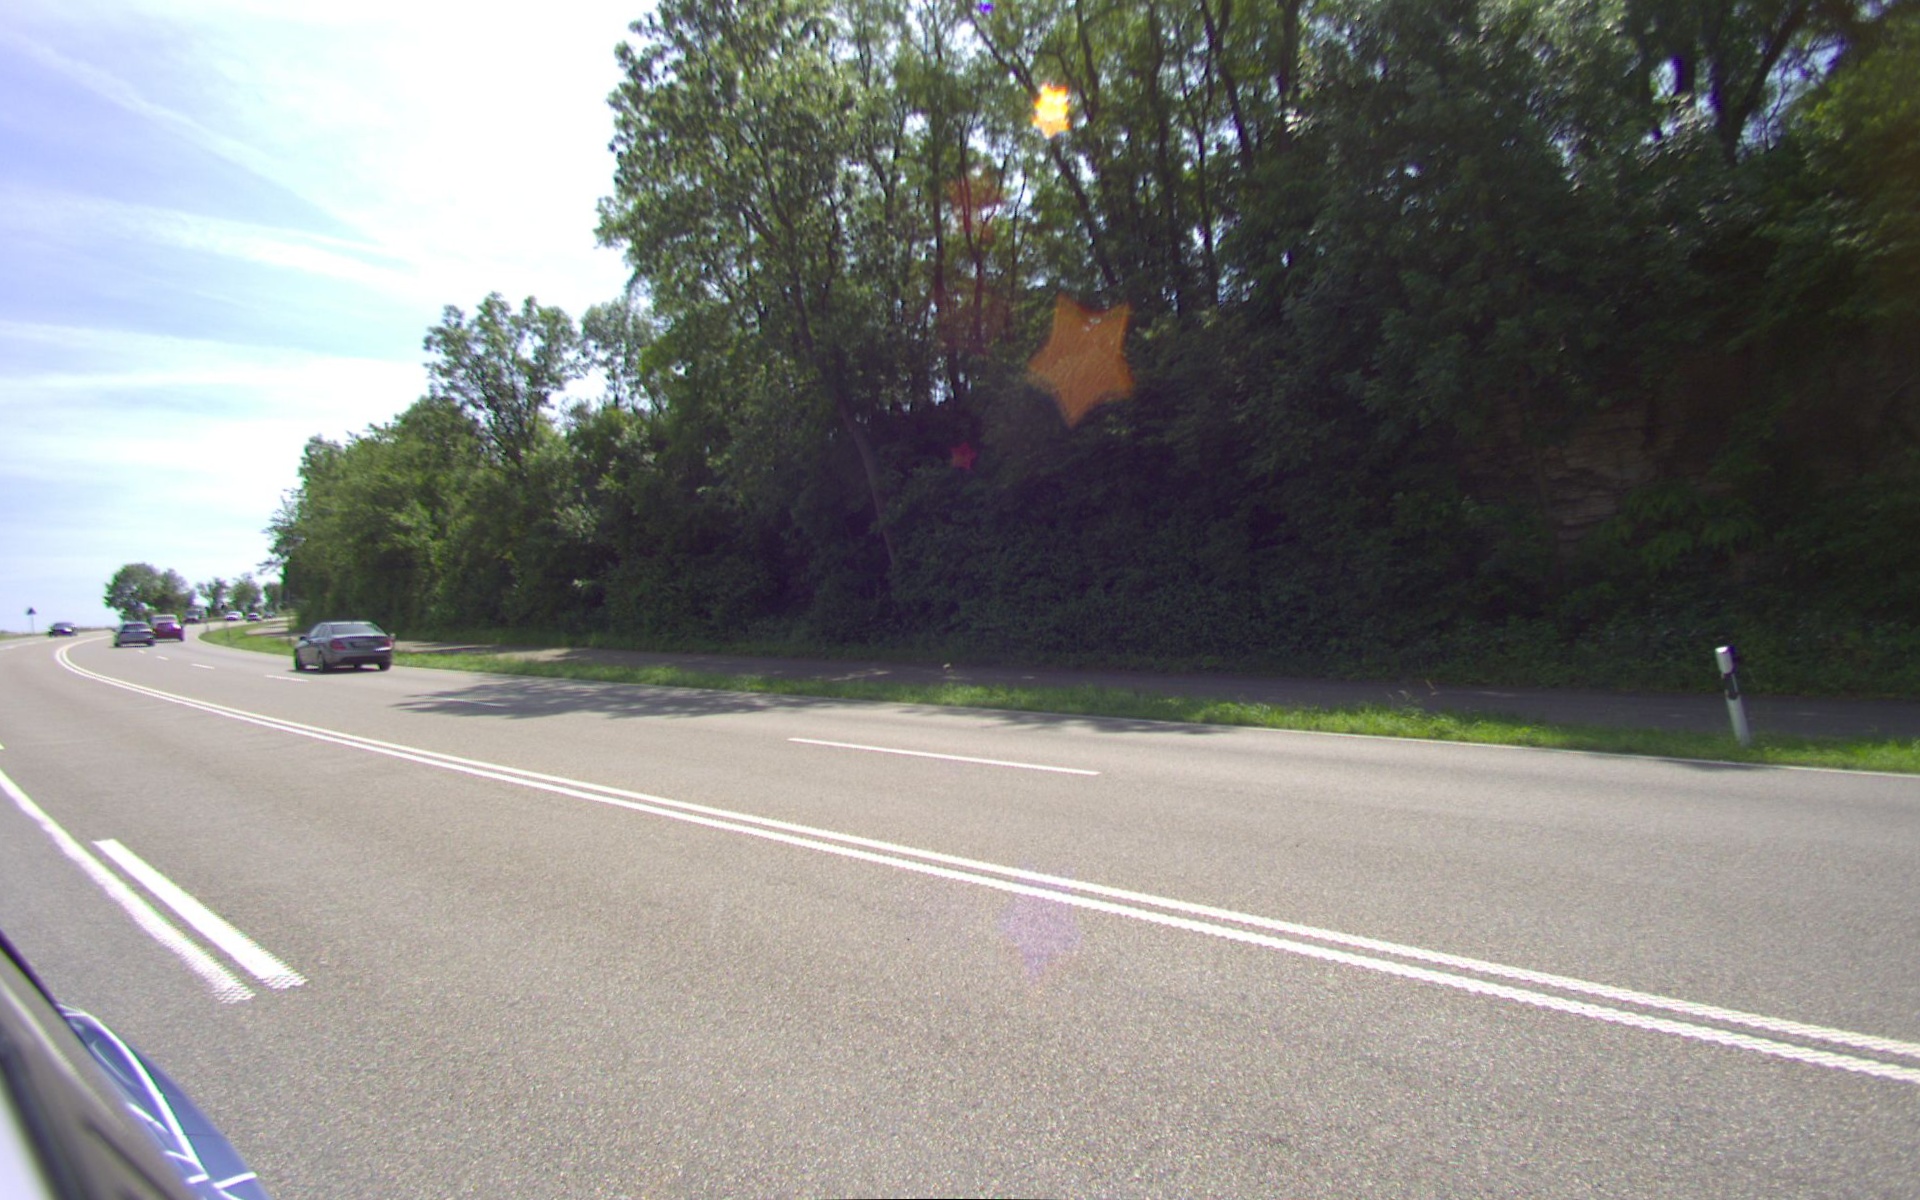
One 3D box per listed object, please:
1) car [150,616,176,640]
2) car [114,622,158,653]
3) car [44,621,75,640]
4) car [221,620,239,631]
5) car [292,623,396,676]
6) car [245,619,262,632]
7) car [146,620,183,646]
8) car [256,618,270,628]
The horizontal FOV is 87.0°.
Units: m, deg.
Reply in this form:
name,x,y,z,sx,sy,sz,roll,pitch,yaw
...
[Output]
name,x,y,z,sx,sy,sz,roll,pitch,yaw
car,-71.824,2.489,91.227,1.789,2.029,3.878,-1,0,-37
car,-49.546,2.209,60.906,1.930,1.741,3.919,-1,-1,-37
car,-87.994,3.003,98.911,1.968,1.741,4.008,-1,0,-37
car,-135.727,4.731,188.150,1.821,2.029,3.885,-1,0,-23
car,-18.006,1.415,29.523,1.782,1.398,3.873,-1,-1,-44
car,-123.887,4.471,177.525,1.965,2.029,4.013,-1,0,-27
car,-55.690,2.273,70.926,1.968,1.687,4.008,-1,0,-37
car,-143.750,4.704,208.731,1.737,1.874,3.822,-1,0,-24
